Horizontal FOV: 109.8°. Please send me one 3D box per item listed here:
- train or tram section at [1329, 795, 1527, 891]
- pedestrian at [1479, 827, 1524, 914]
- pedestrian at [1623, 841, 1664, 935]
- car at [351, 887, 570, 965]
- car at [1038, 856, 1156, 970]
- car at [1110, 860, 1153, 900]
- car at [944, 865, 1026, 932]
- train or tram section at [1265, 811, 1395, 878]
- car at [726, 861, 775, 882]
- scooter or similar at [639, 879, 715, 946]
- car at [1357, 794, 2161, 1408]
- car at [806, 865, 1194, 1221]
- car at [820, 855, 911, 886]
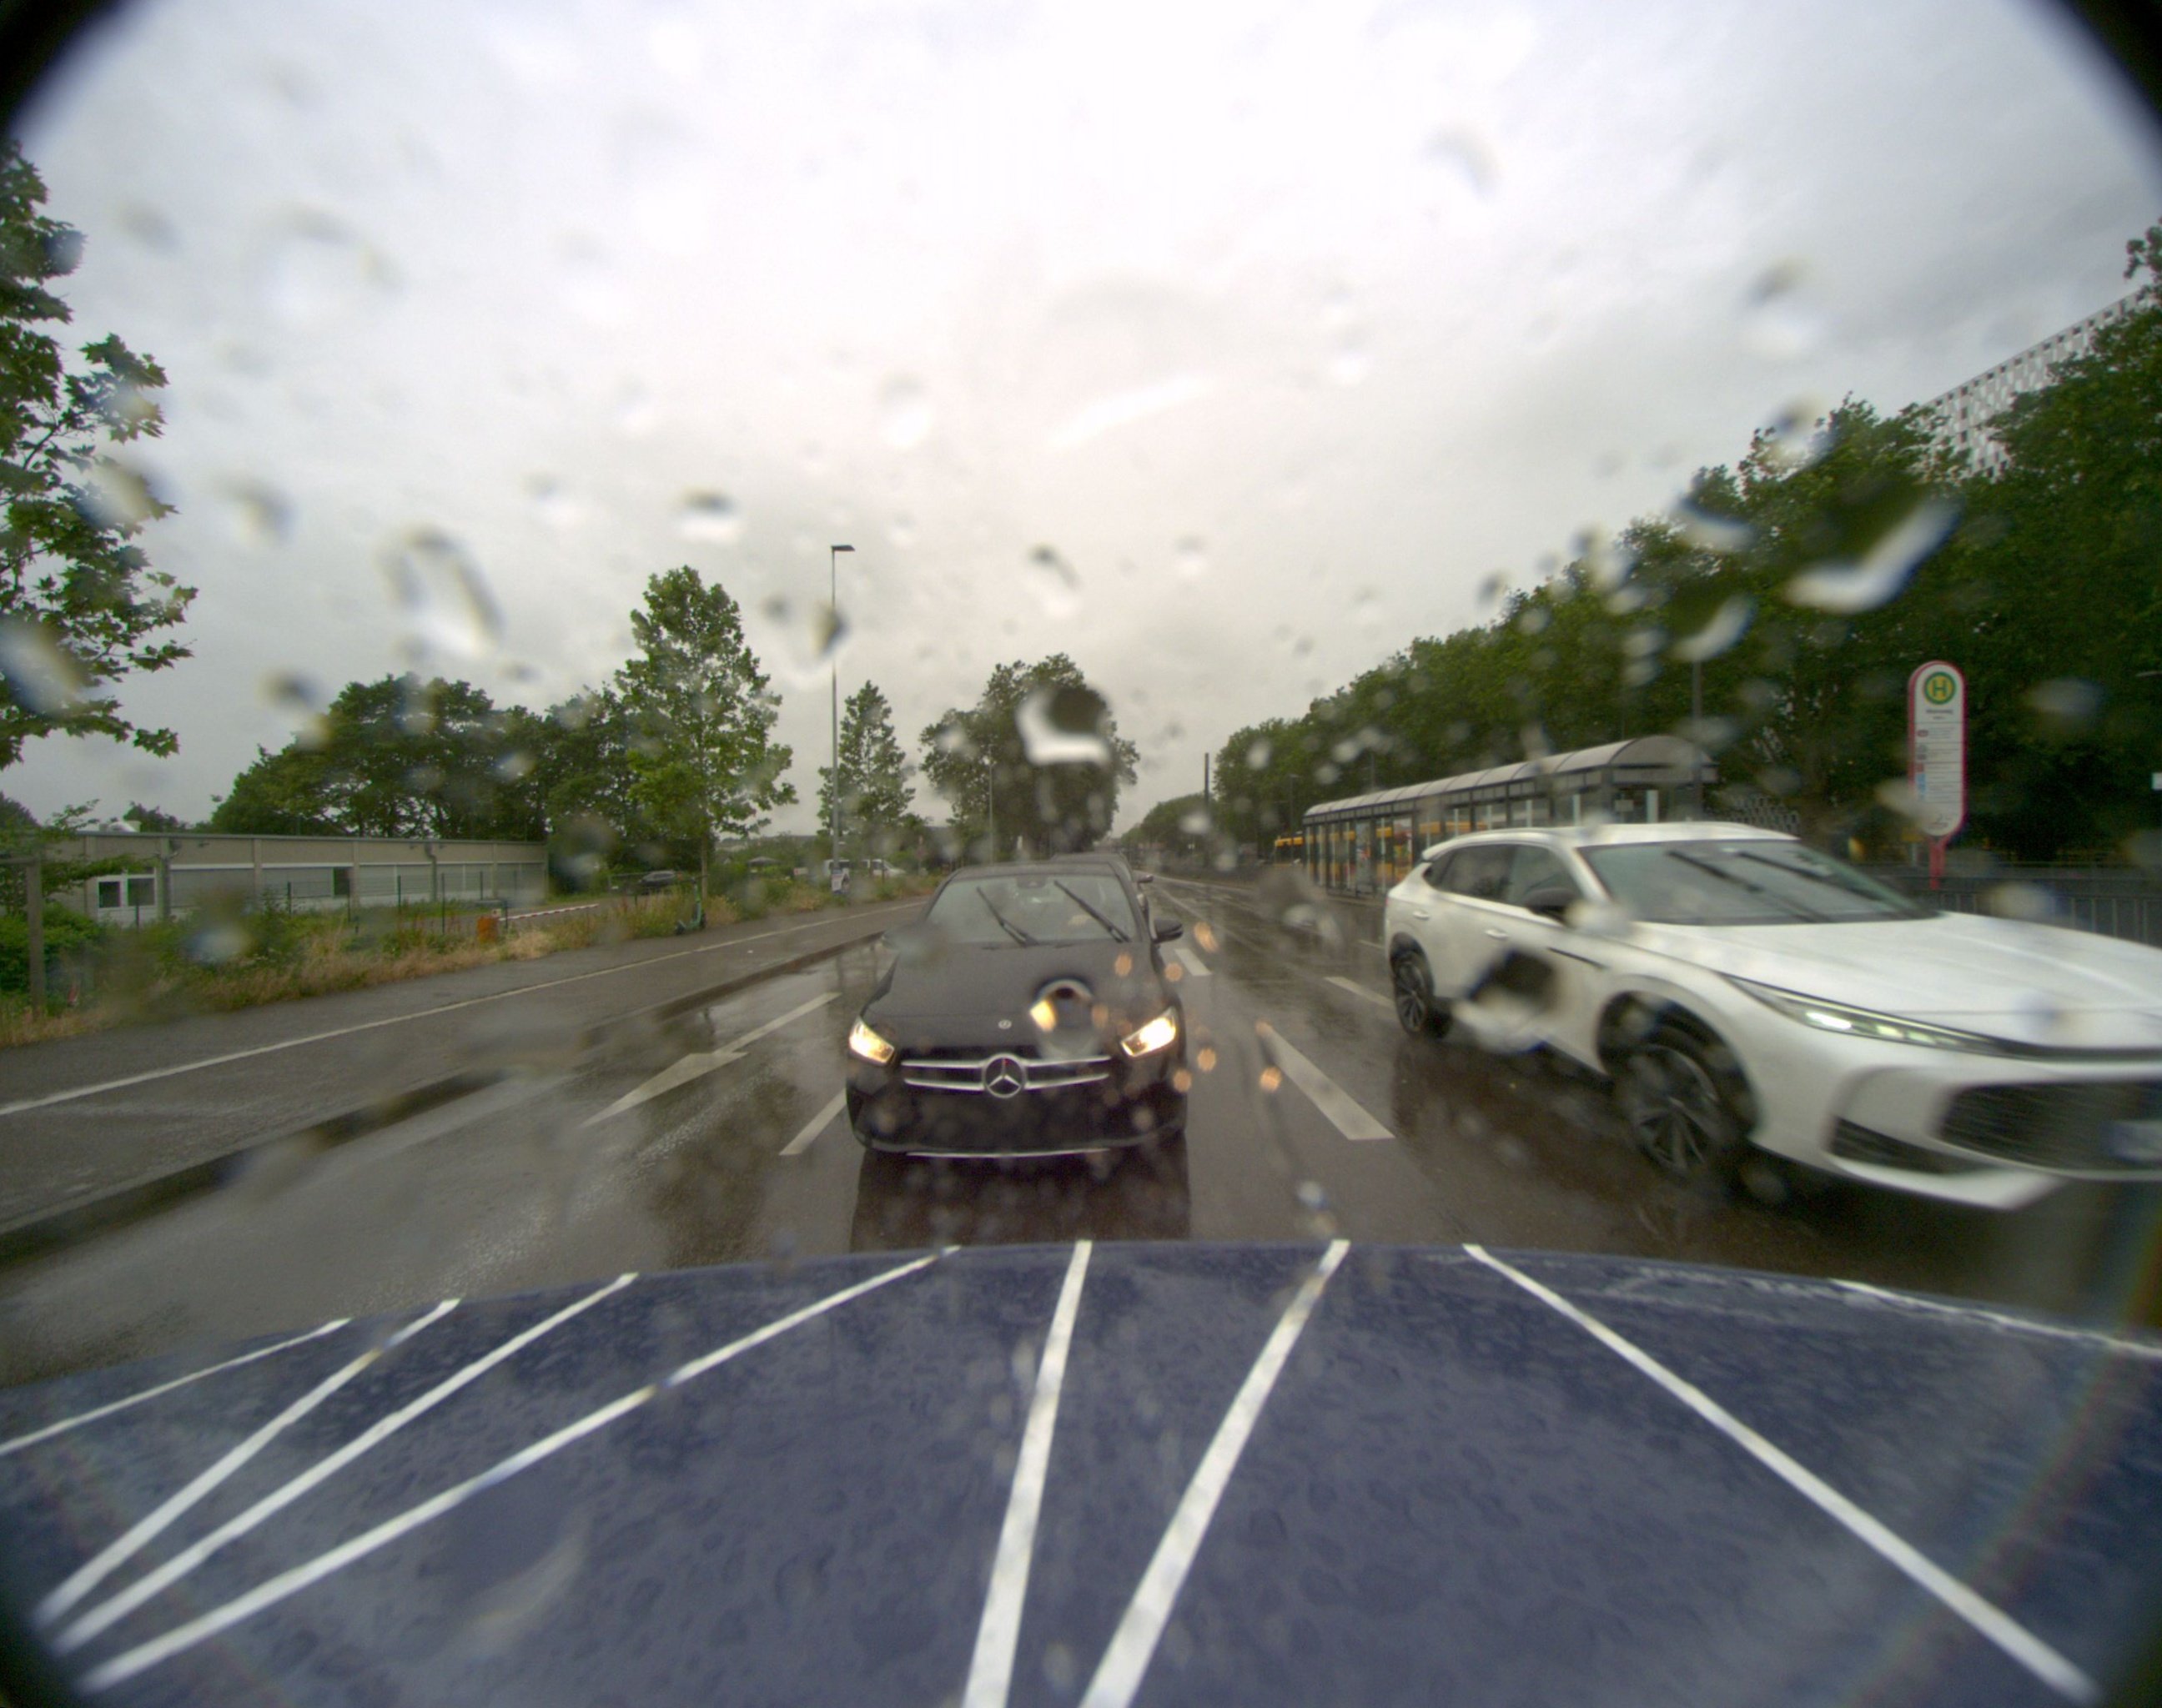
[{"bbox_3d":[16.622,-0.494,38.248,3.751,3.817,13.253,-3,0,0],"label":"train or tram section"},{"bbox_3d":[9.257,0.349,16.754,0.655,1.860,0.773,-2,1,17],"label":"pedestrian"},{"bbox_3d":[9.202,0.547,12.435,0.321,1.485,0.415,-3,2,6],"label":"pedestrian"},{"bbox_3d":[-12.027,1.376,14.823,3.243,1.281,1.345,-3,1,6],"label":"car"},{"bbox_3d":[0.293,0.858,12.950,1.689,1.611,4.000,-1,0,2],"label":"car"},{"bbox_3d":[2.162,1.092,33.328,1.557,1.541,3.717,-3,0,0],"label":"car"},{"bbox_3d":[-2.423,1.094,19.985,1.557,1.500,3.618,-2,0,1],"label":"car"},{"bbox_3d":[16.625,-0.630,52.678,3.751,3.777,15.569,-3,0,0],"label":"train or tram section"},{"bbox_3d":[-28.233,1.484,65.018,3.552,1.574,1.345,-3,1,6],"label":"car"},{"bbox_3d":[-8.189,1.156,15.483,0.367,1.192,1.913,-2,1,4],"label":"scooter or similar"},{"bbox_3d":[3.455,0.678,4.525,1.935,1.765,4.663,-3,0,1],"label":"car"},{"bbox_3d":[-0.201,0.919,5.584,1.758,1.572,4.171,-2,0,5],"label":"car"},{"bbox_3d":[-13.589,1.013,48.146,5.174,1.715,2.006,-3,1,-1],"label":"car"}]
